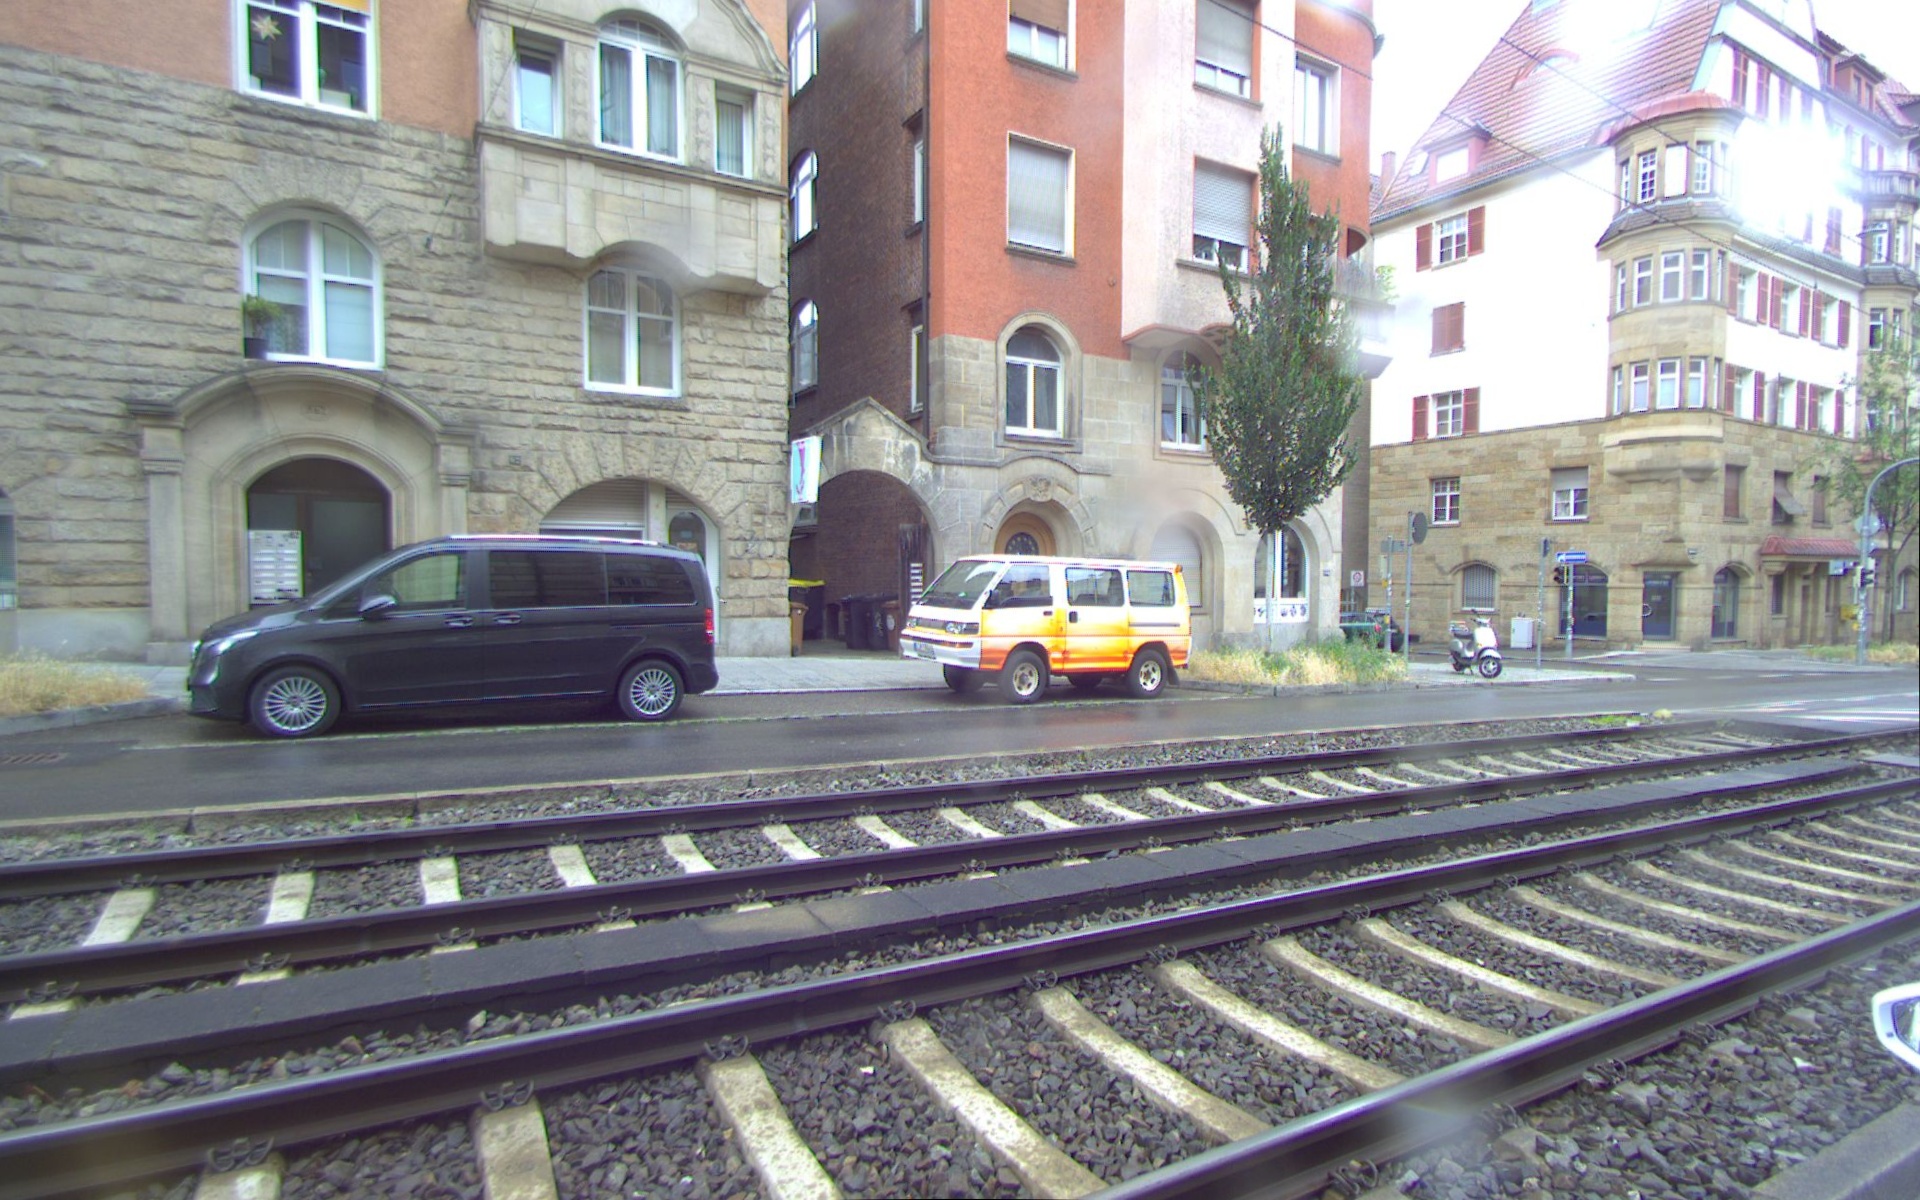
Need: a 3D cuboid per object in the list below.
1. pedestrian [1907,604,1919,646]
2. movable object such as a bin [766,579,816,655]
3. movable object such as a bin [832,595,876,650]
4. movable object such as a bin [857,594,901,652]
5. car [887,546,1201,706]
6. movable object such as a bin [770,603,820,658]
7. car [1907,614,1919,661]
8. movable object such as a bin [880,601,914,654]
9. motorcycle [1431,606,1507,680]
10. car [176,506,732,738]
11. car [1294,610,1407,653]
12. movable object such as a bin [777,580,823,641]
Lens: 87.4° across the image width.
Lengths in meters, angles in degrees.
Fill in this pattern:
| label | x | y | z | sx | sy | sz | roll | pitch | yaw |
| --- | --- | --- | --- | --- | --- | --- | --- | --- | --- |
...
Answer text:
| label | x | y | z | sx | sy | sz | roll | pitch | yaw |
| --- | --- | --- | --- | --- | --- | --- | --- | --- | --- |
| pedestrian | 39.040 | 1.004 | 40.842 | 0.696 | 1.695 | 0.626 | 2 | 0 | -37 |
| movable object such as a bin | -3.110 | 0.298 | 18.465 | 0.648 | 1.360 | 0.903 | 1 | 1 | -27 |
| movable object such as a bin | -2.087 | 0.441 | 19.687 | 0.607 | 1.052 | 0.793 | 1 | -1 | -27 |
| movable object such as a bin | -1.549 | 0.436 | 19.141 | 0.607 | 1.090 | 0.679 | 1 | -1 | -27 |
| car | 1.271 | 0.374 | 14.440 | 4.295 | 2.001 | 1.721 | 2 | 0 | -32 |
| movable object such as a bin | -2.895 | 0.519 | 17.592 | 0.627 | 0.918 | 0.793 | 1 | 1 | -27 |
| car | 34.166 | 1.327 | 34.351 | 3.994 | 1.573 | 1.741 | 2 | 0 | -34 |
| movable object such as a bin | -1.177 | 0.512 | 18.633 | 0.442 | 0.957 | 0.557 | 1 | -1 | -27 |
| motorcycle | 10.102 | 0.828 | 20.001 | 0.612 | 1.384 | 1.596 | 2 | 0 | -3 |
| car | -5.055 | 0.248 | 10.596 | 4.769 | 1.968 | 1.984 | 2 | 0 | -30 |
| car | 14.460 | 1.149 | 37.343 | 1.683 | 1.423 | 3.618 | 2 | 0 | -34 |
| movable object such as a bin | -3.614 | 0.233 | 22.658 | 0.676 | 1.324 | 1.154 | 1 | 1 | -26 |
